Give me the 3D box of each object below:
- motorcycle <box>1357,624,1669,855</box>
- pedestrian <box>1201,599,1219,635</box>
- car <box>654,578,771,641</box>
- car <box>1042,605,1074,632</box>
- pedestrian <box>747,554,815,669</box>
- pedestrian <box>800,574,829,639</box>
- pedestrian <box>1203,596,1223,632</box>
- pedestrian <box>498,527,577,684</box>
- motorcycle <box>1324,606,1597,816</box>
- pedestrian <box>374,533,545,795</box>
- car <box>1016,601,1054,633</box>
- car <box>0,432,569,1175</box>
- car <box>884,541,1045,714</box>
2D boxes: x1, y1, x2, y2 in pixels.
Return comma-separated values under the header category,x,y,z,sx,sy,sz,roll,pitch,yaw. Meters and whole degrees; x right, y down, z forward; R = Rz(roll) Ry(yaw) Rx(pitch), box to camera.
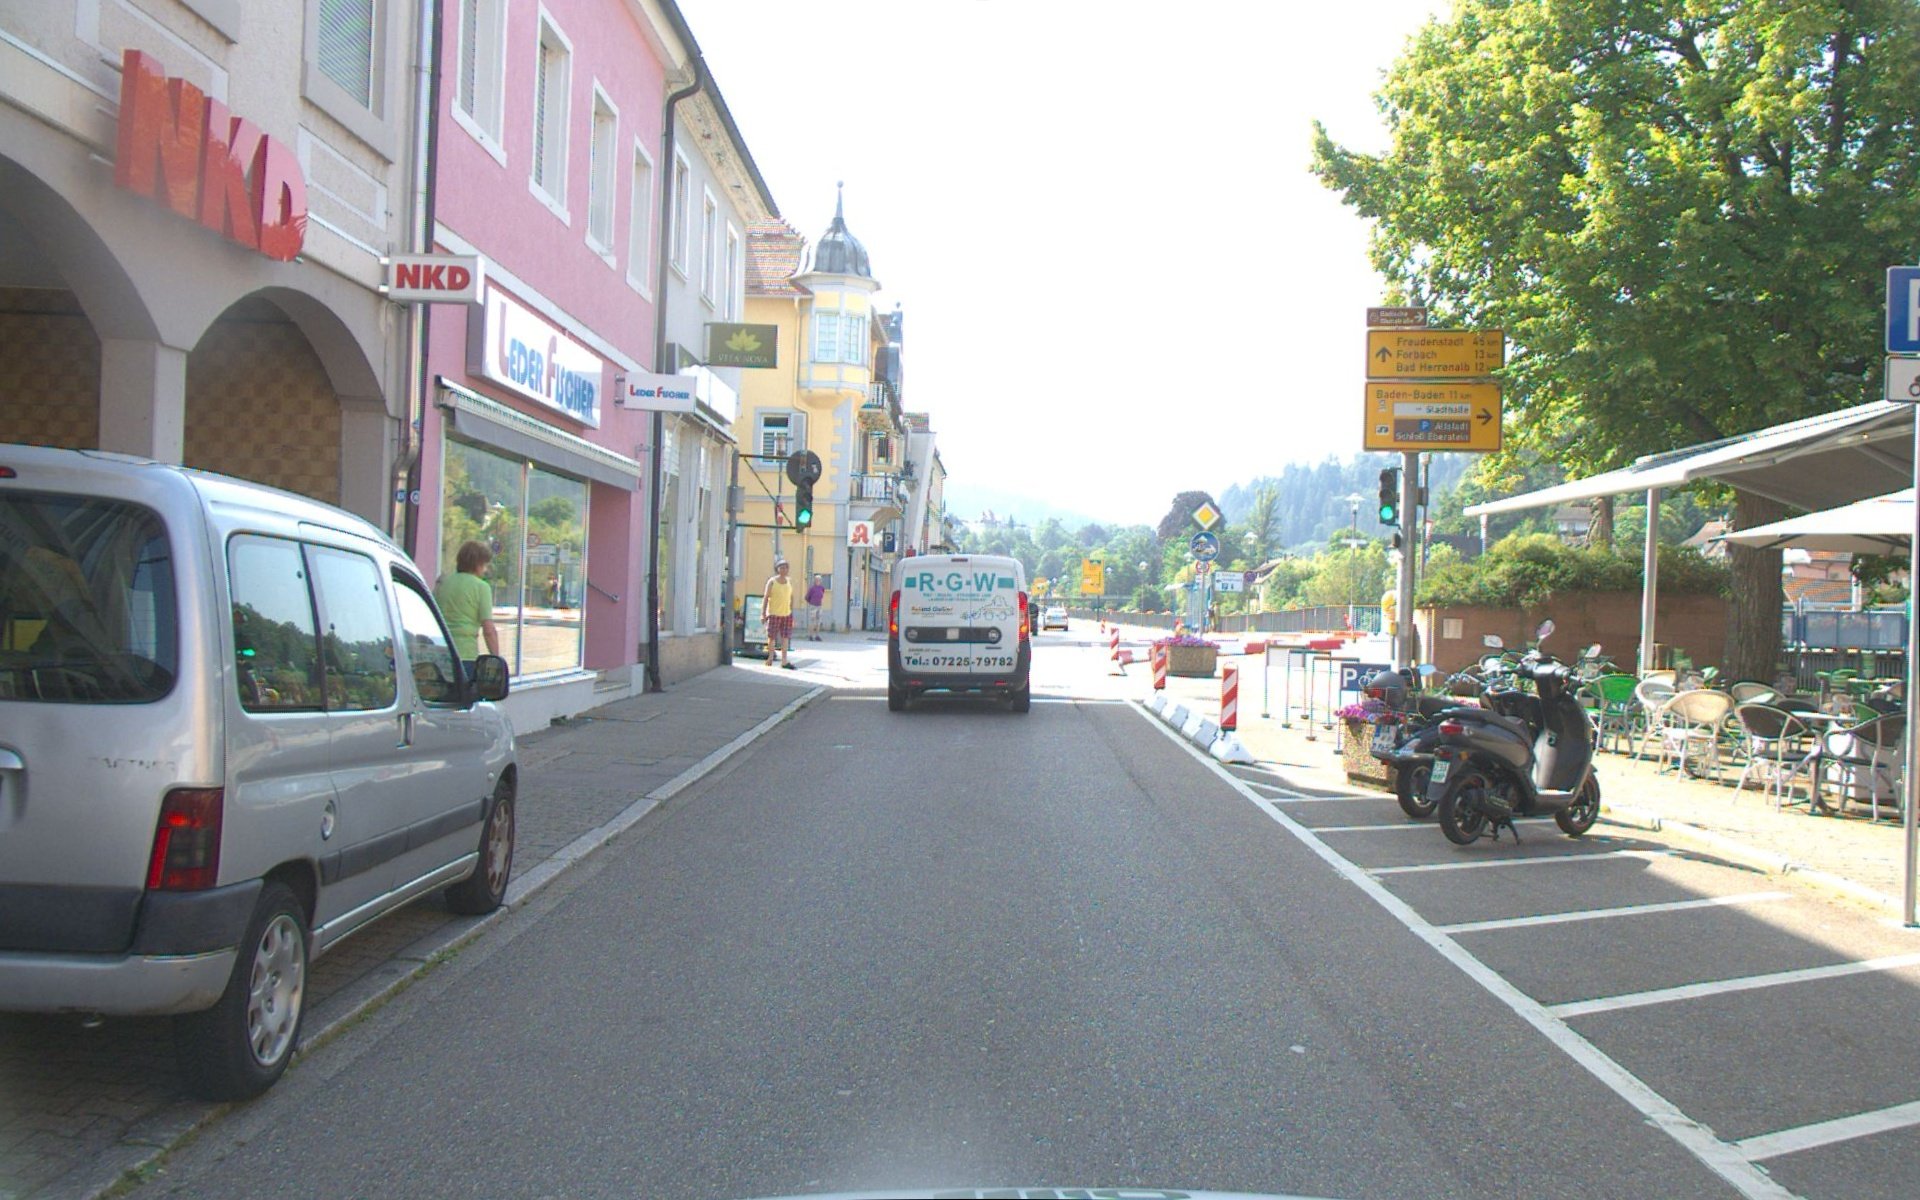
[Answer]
category,x,y,z,sx,sy,sz,roll,pitch,yaw
motorcycle,3.529,0.815,10.470,2.070,1.292,0.916,1,0,-40
pedestrian,12.302,0.837,81.302,0.773,1.736,0.492,2,-1,3
car,-7.163,0.252,47.609,1.899,1.569,3.916,2,1,-32
car,6.504,1.232,109.925,1.952,1.691,4.001,2,0,1
pedestrian,-3.068,0.189,28.279,0.889,1.846,1.018,6,0,-11
pedestrian,-3.986,0.175,45.428,0.664,1.744,0.617,2,0,2
pedestrian,12.333,0.680,80.666,0.848,1.736,0.777,2,-1,3
pedestrian,-4.830,0.063,18.901,0.705,1.752,0.668,1,0,-29
motorcycle,3.617,0.751,11.909,1.878,1.382,0.906,1,0,-35
pedestrian,-3.368,0.414,11.200,0.769,1.660,0.859,4,0,3
car,4.144,0.932,91.847,1.952,1.691,4.001,2,0,1
car,-2.736,0.437,6.037,1.672,1.769,4.144,3,1,-2
car,0.083,0.297,21.344,1.806,1.939,4.315,2,1,1
